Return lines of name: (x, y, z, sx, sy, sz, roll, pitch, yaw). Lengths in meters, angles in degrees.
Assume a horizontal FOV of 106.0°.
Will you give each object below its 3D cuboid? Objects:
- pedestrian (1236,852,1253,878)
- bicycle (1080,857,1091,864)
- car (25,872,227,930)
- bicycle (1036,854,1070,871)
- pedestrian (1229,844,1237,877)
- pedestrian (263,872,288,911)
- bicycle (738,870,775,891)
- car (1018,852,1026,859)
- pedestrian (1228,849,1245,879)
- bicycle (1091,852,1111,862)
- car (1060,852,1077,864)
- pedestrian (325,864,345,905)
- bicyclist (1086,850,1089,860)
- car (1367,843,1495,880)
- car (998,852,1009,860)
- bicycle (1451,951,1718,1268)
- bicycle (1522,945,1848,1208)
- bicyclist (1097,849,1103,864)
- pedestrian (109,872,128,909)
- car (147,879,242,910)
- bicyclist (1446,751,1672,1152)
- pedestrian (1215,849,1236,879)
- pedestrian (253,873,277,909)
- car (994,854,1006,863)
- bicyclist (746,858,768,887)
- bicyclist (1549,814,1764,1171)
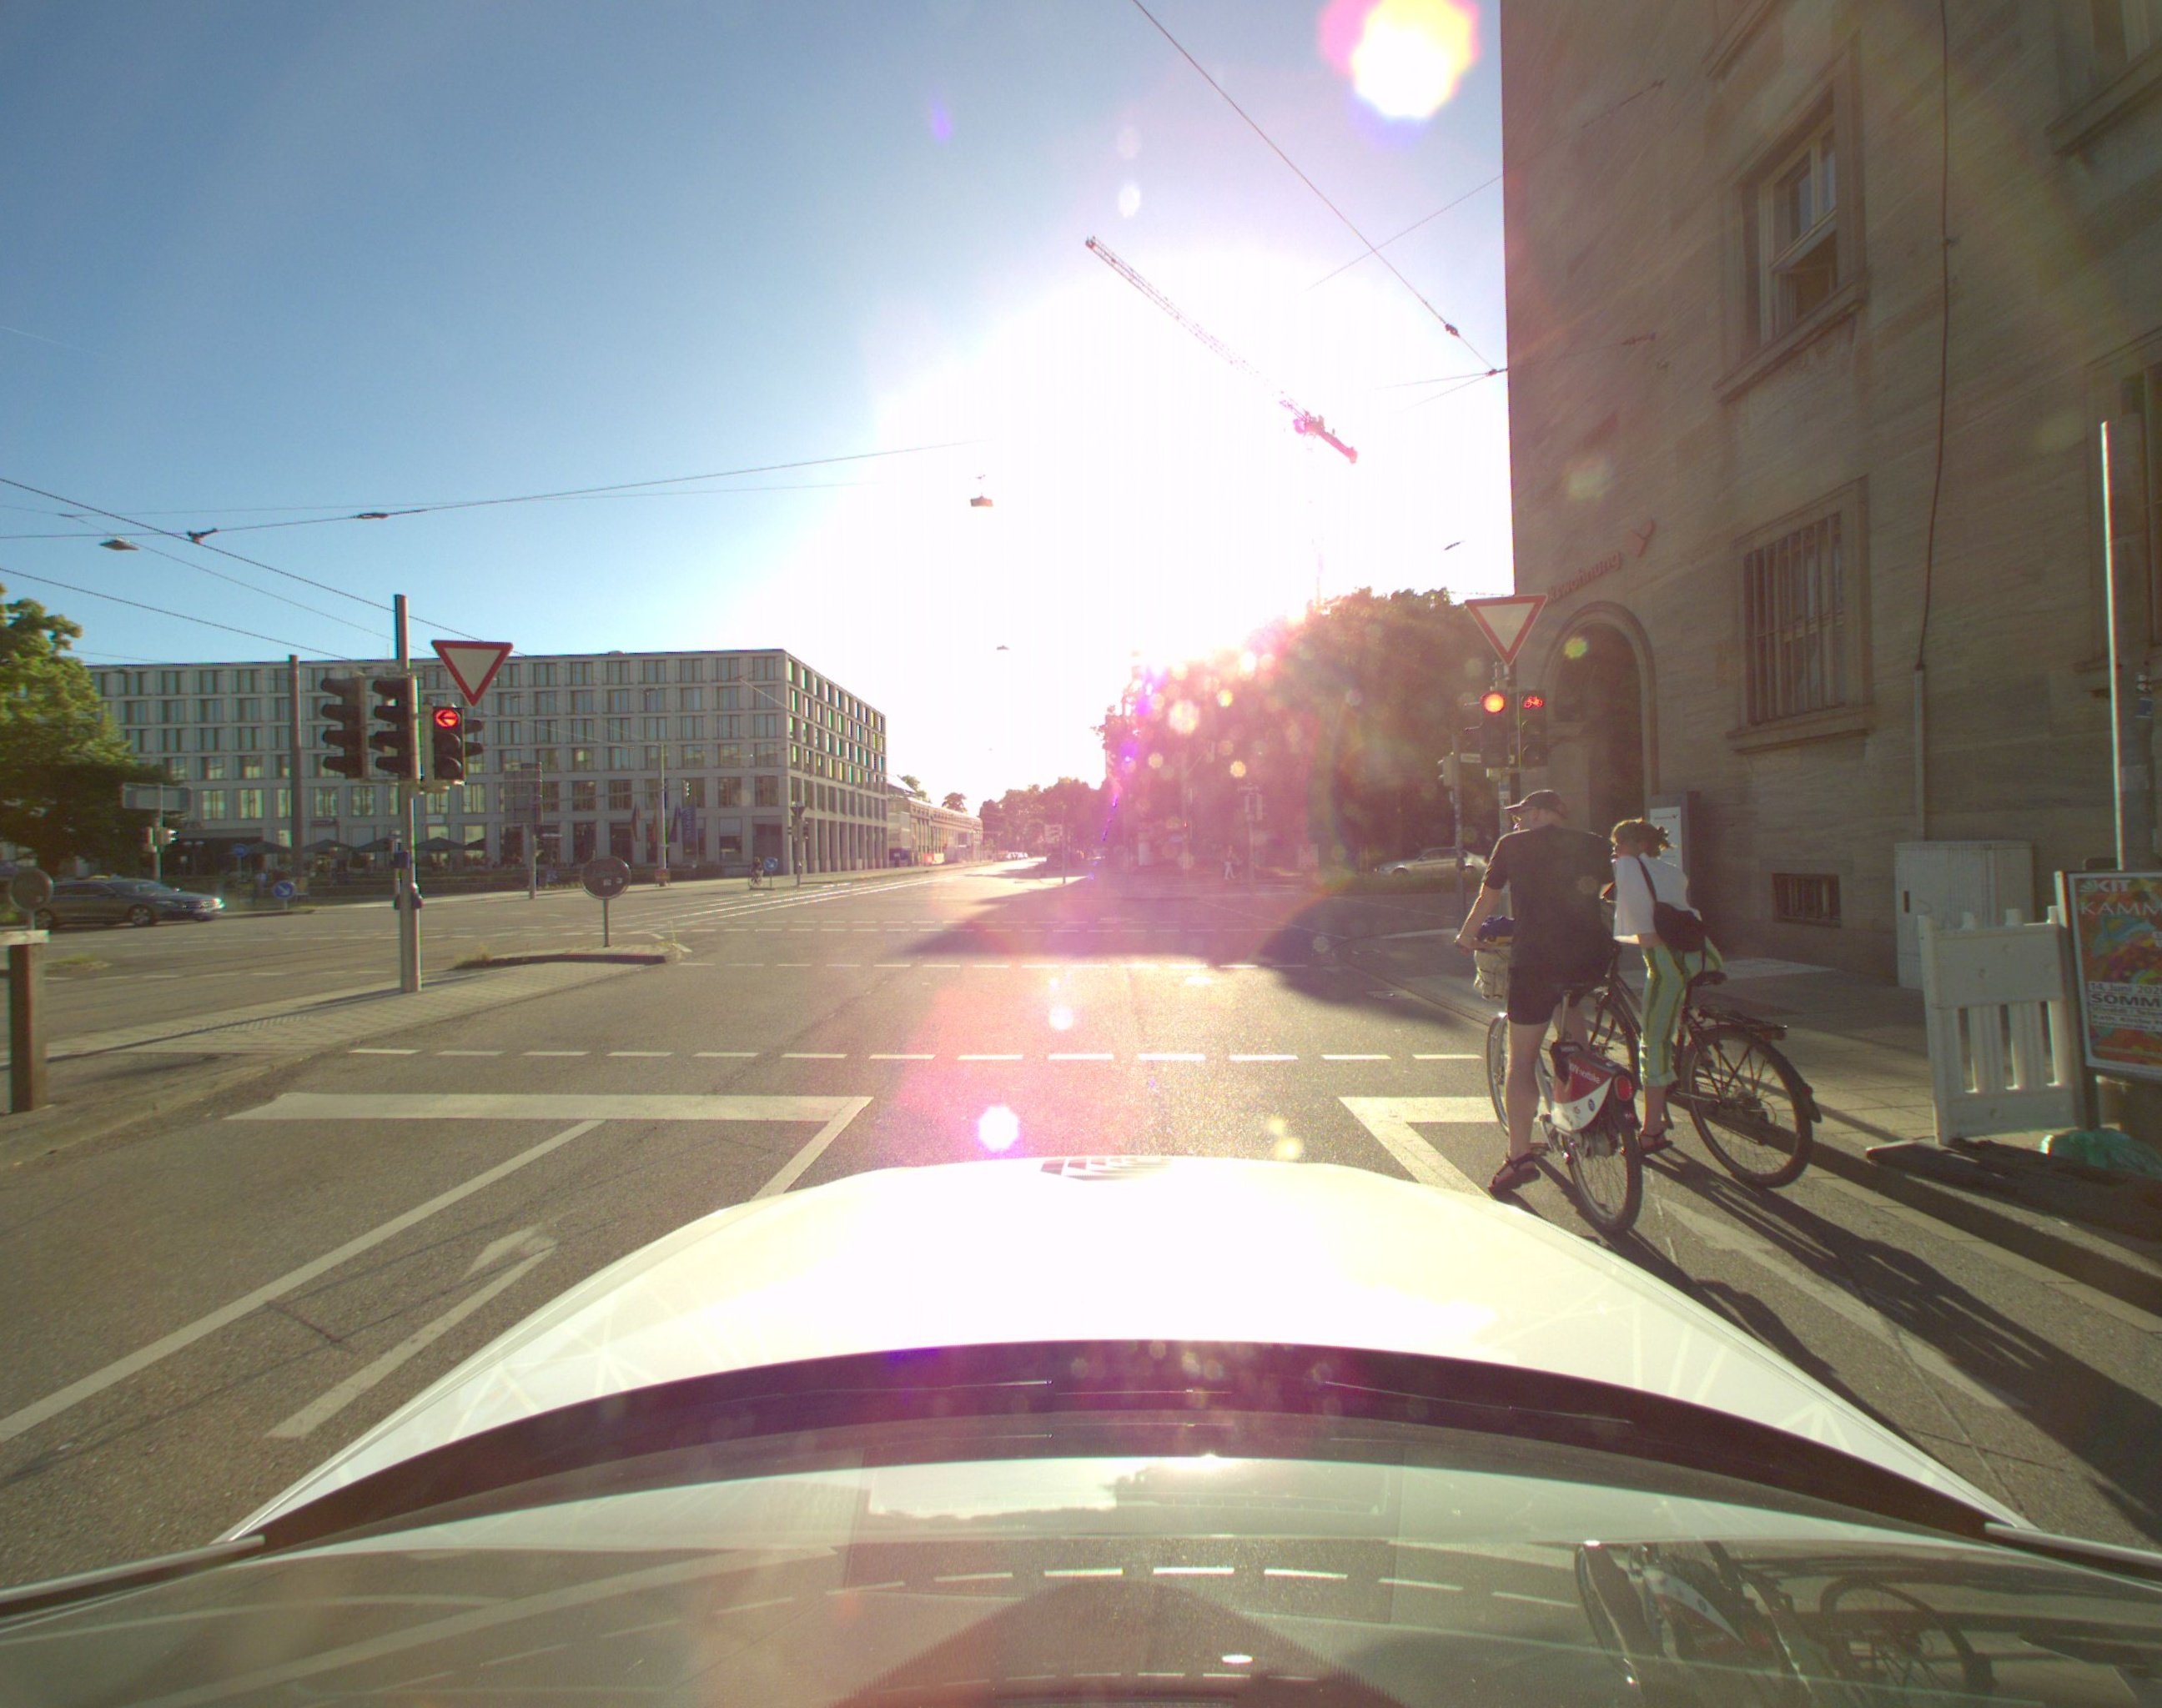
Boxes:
pedestrian: (8.637, 0.562, 43.110, 0.749, 1.332, 0.743, -2, 0, 4)
bicycle: (0.542, 0.762, 98.486, 1.489, 0.868, 0.322, -2, 0, -35)
car: (-29.385, 1.429, 25.156, 4.147, 1.574, 1.728, -2, 0, 0)
bicycle: (-2.325, 0.727, 67.357, 2.728, 1.367, 0.633, -1, -1, 12)
pedestrian: (8.282, 0.339, 44.270, 0.358, 1.804, 0.508, -2, 0, 14)
pedestrian: (-44.324, 2.059, 44.827, 0.648, 2.068, 0.649, -2, 0, -5)
bicycle: (-19.203, 1.547, 48.242, 0.872, 1.121, 3.014, -2, 0, 2)
car: (-14.066, 0.324, 194.567, 1.478, 1.750, 4.002, -2, 0, 2)
pedestrian: (8.467, 0.537, 44.427, 0.792, 1.639, 0.534, -2, 0, 4)
bicycle: (2.519, 0.416, 103.487, 2.564, 1.288, 0.727, 0, -1, -5)
car: (-1.390, 0.438, 92.525, 1.814, 1.279, 3.999, -2, 0, 0)
pedestrian: (-42.275, 1.724, 46.155, 0.568, 2.280, 0.533, -2, 0, -5)
bicyclist: (0.796, 0.134, 98.461, 0.317, 1.127, 0.291, -1, -1, 0)
car: (14.200, 0.305, 33.231, 4.422, 1.329, 1.778, -2, 0, 4)
car: (-15.266, 0.415, 160.767, 1.724, 1.653, 4.002, -2, 0, 2)
bicycle: (2.260, 1.038, 3.923, 0.387, 0.905, 1.956, -2, 0, 10)
bicycle: (3.052, 1.042, 4.383, 0.424, 0.876, 1.953, -2, 0, 5)
bicyclist: (2.423, 0.333, 103.508, 0.802, 1.844, 0.731, -2, 0, 1)
pedestrian: (-53.032, 2.008, 44.881, 0.490, 2.013, 0.493, -2, 0, 14)
car: (-46.593, 2.125, 42.844, 3.178, 1.438, 1.469, -2, 0, -4)
bicyclist: (2.167, 0.417, 3.778, 0.666, 1.678, 0.658, -2, 0, 9)
pedestrian: (7.772, 0.535, 43.835, 0.980, 1.587, 0.661, -2, -1, 3)
pedestrian: (-45.998, 2.081, 45.907, 0.528, 2.013, 0.800, -2, 0, -5)
car: (-15.572, 0.774, 156.540, 1.724, 1.653, 4.002, -2, 0, 2)
bicyclist: (-19.214, 1.094, 48.303, 0.872, 1.641, 0.822, -2, 0, 3)
bicyclist: (2.967, 0.656, 4.283, 0.519, 1.679, 0.860, -2, 0, 5)
